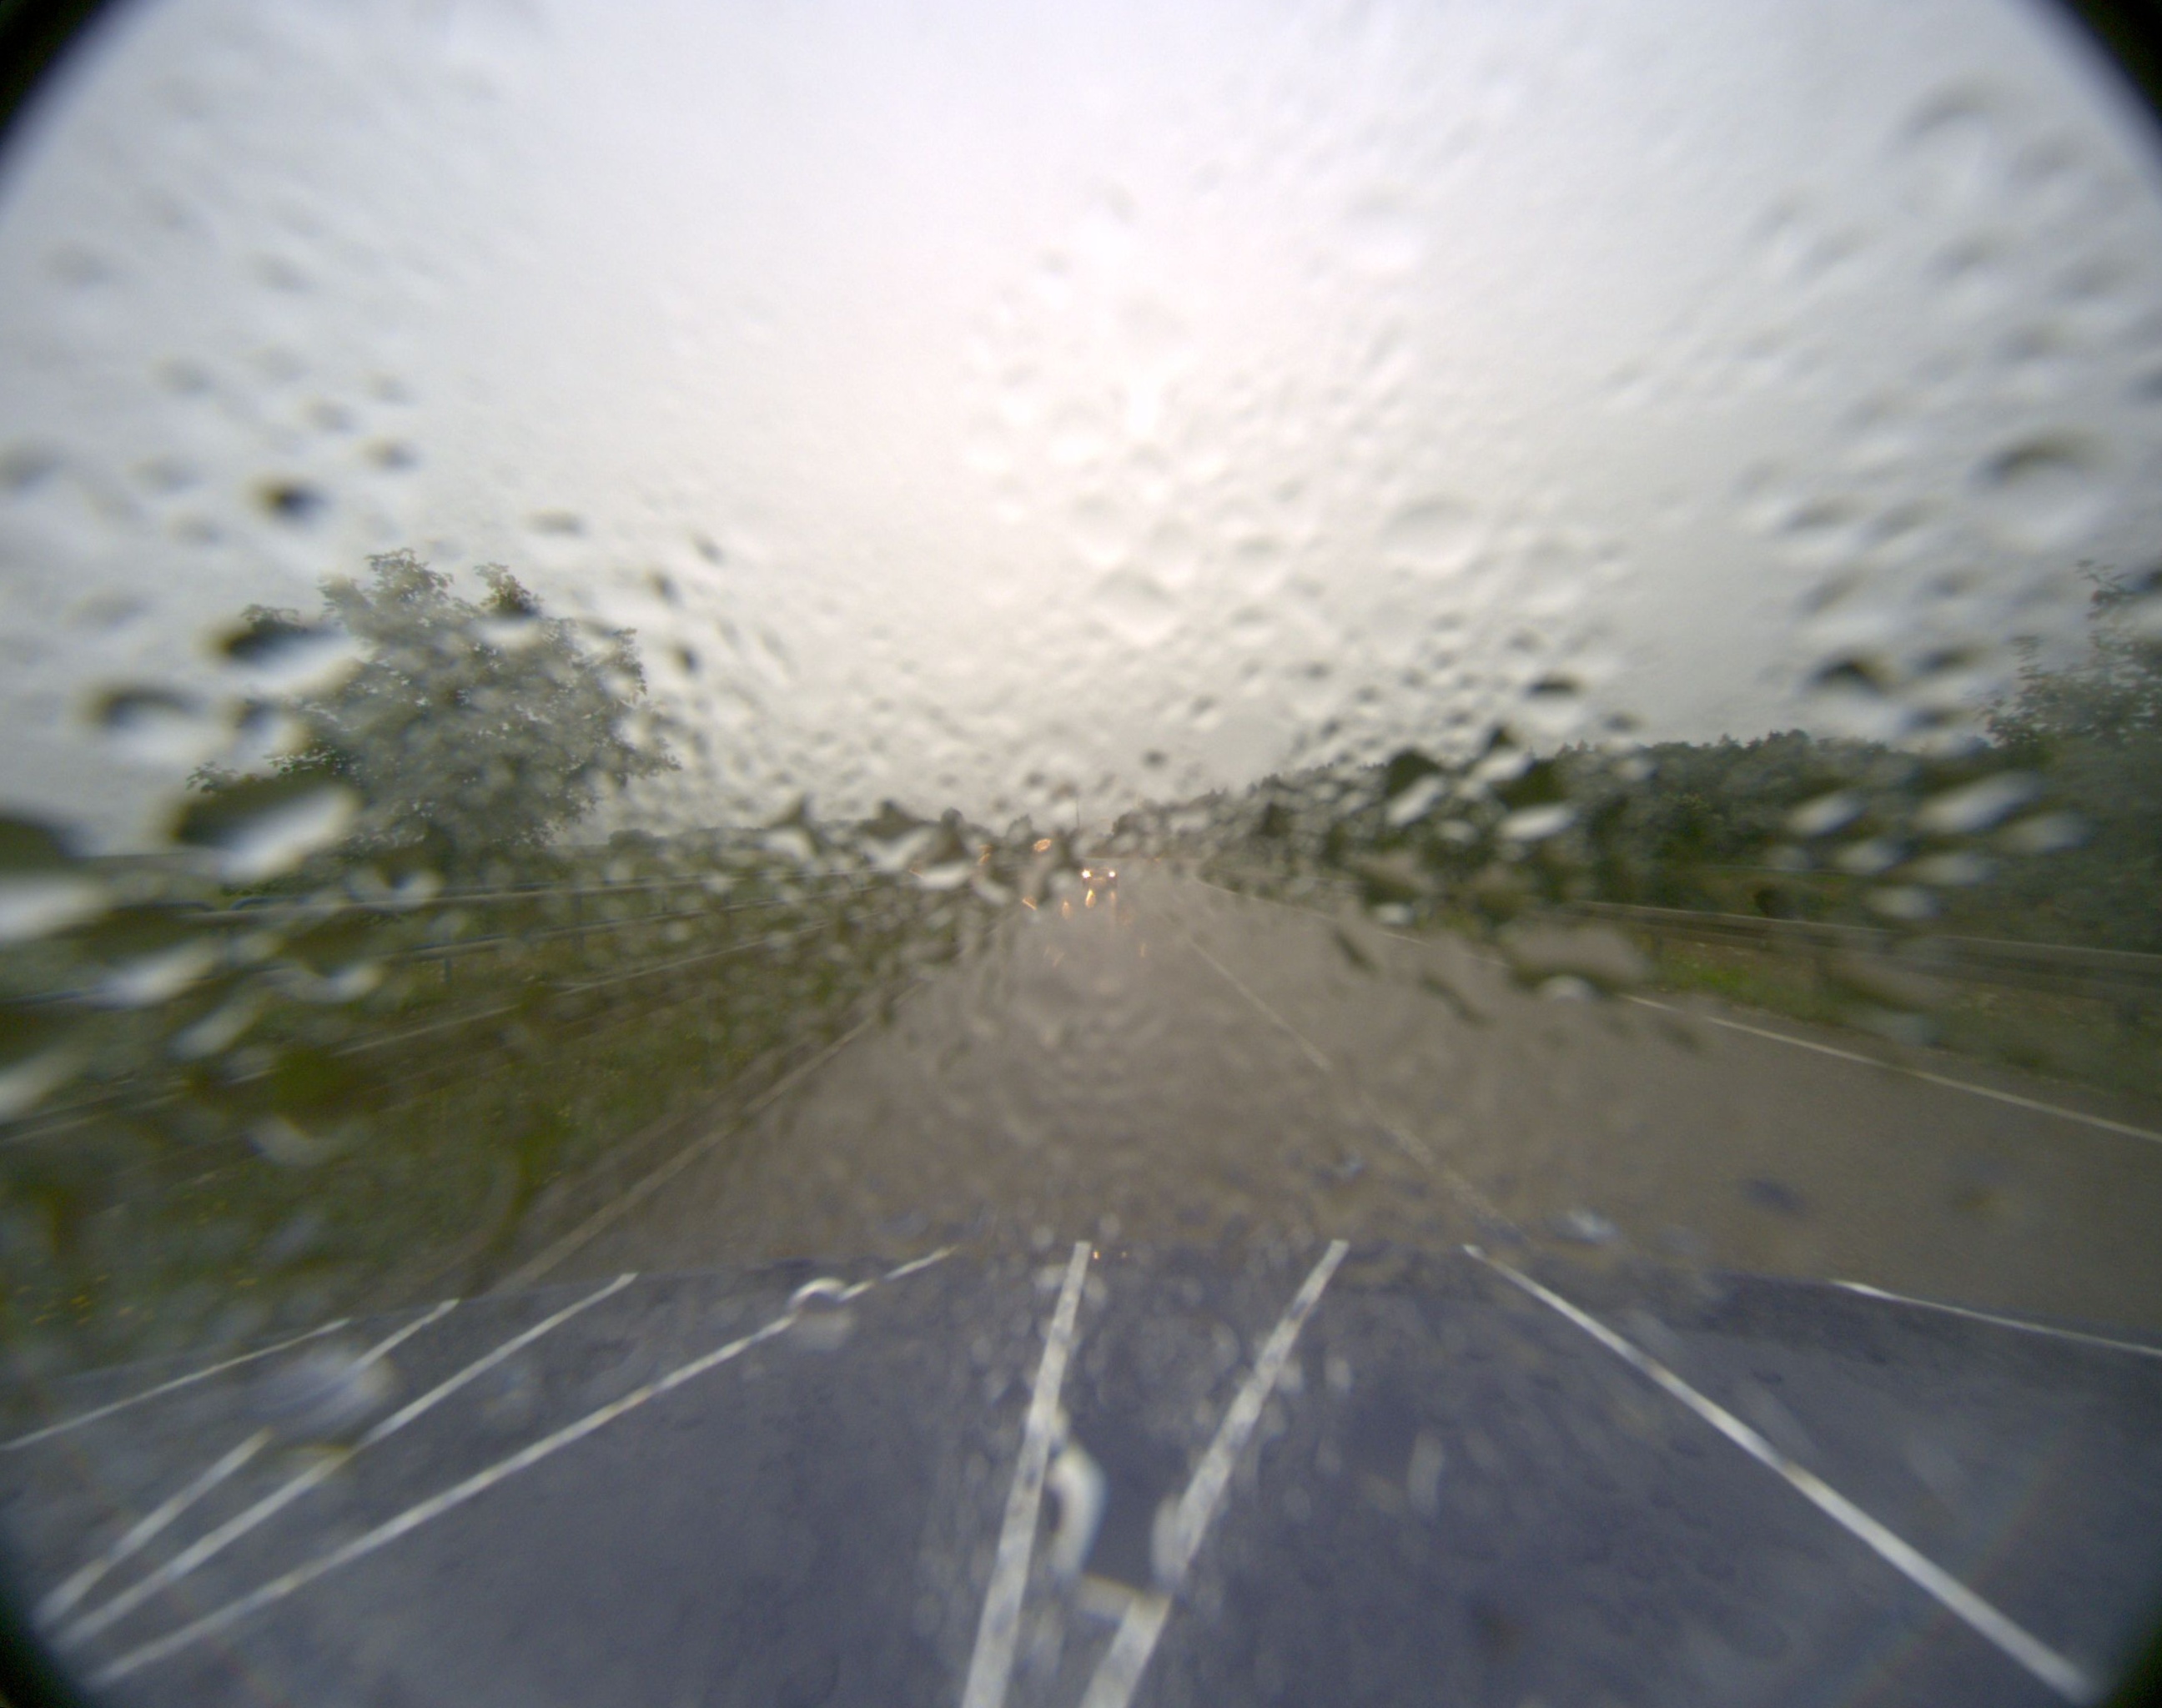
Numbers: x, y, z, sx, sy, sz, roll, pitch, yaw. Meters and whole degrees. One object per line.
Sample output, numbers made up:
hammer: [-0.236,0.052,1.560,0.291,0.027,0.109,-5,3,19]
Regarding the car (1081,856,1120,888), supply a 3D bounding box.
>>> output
car: [1.058,0.901,39.599,1.818,1.382,4.069,-3,2,4]
